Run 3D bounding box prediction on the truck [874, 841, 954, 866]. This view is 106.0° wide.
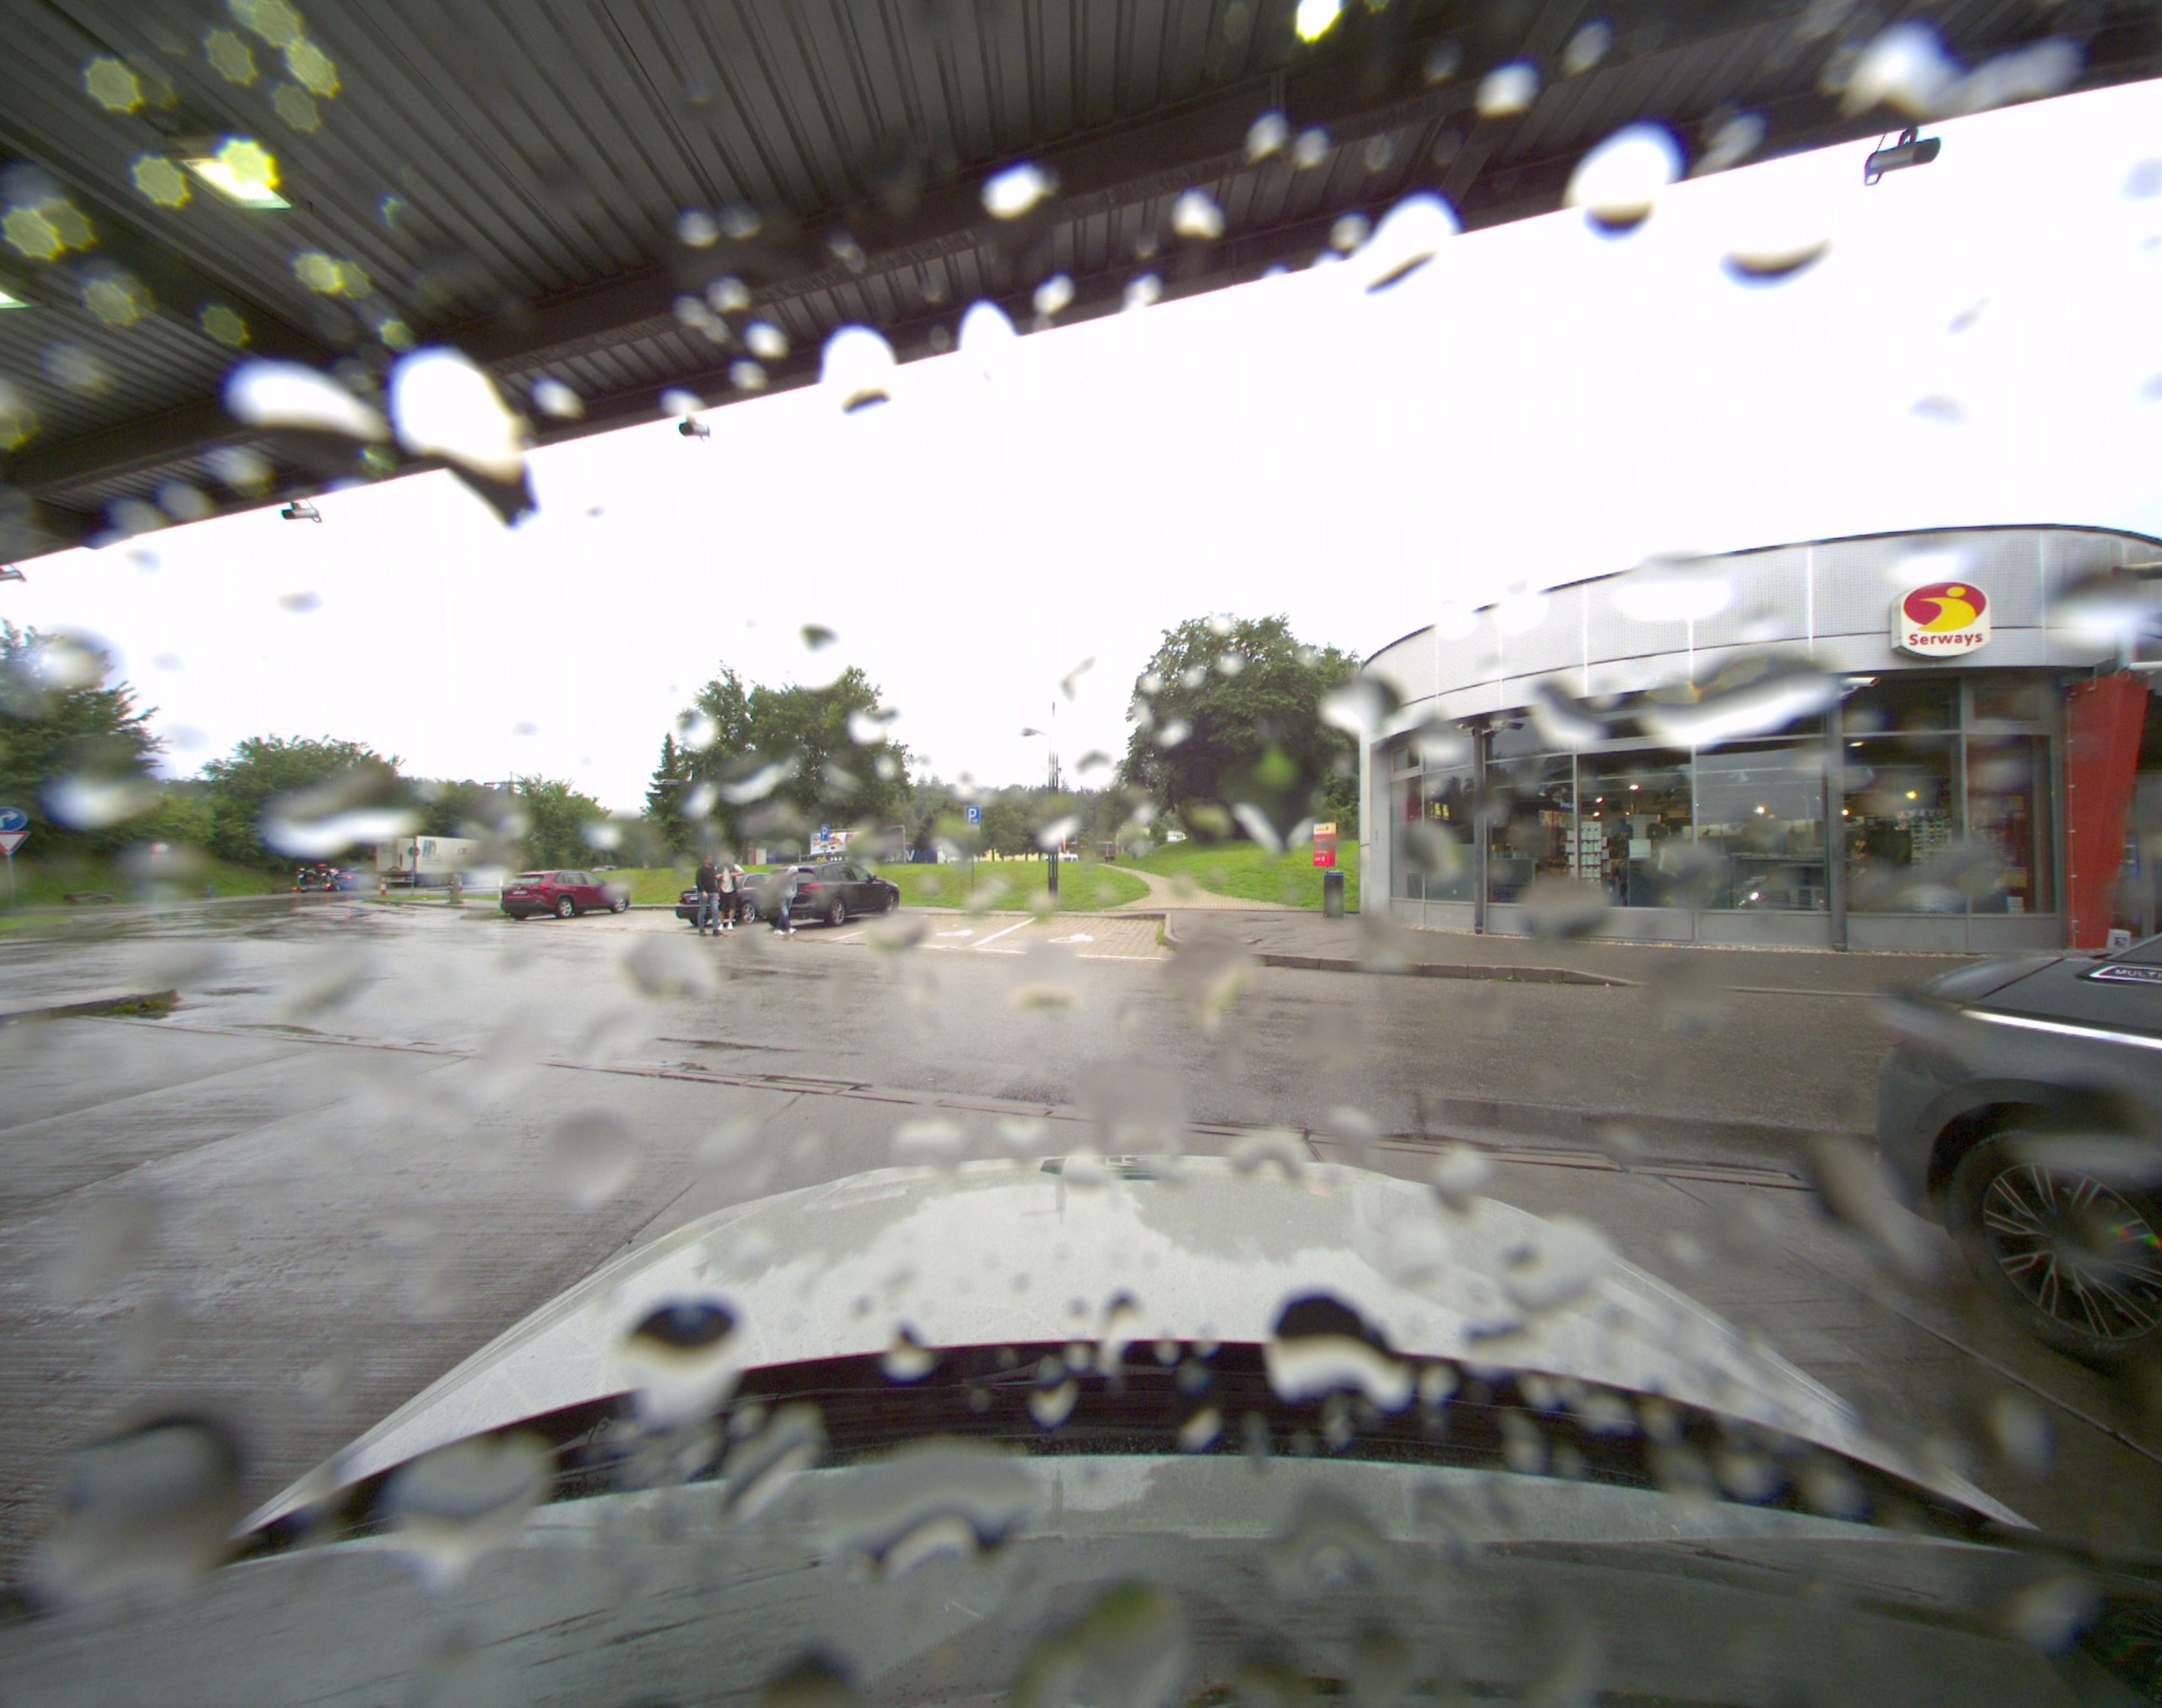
[{"bbox_3d":[-20.755,-0.052,102.347,2.165,2.920,13.175,-1,-1,26],"label":"truck"}]

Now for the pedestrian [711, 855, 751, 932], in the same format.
[{"bbox_3d":[-8.806,0.965,20.519,0.701,1.887,0.952,0,-1,-7],"label":"pedestrian"}]

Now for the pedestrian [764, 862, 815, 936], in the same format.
[{"bbox_3d":[-6.698,1.014,18.735,0.942,1.631,0.708,-1,-1,37],"label":"pedestrian"}]

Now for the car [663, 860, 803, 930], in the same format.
[{"bbox_3d":[-9.833,1.082,23.426,2.010,1.711,4.344,-2,0,1],"label":"car"}]

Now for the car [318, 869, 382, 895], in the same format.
[{"bbox_3d":[-50.344,1.885,56.172,1.814,1.681,3.927,0,-1,-18],"label":"car"}]

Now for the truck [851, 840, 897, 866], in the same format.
[{"bbox_3d":[-24.187,-0.084,95.456,2.165,2.920,5.419,-1,-1,27],"label":"truck"}]

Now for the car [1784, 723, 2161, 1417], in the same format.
[{"bbox_3d":[3.677,0.542,0.680,1.854,1.798,5.142,0,-1,2],"label":"car"}]

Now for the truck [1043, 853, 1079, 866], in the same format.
[{"bbox_3d":[-3.252,0.879,134.107,5.356,2.014,2.381,-1,-1,26],"label":"truck"}]

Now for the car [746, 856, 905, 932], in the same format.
[{"bbox_3d":[-6.647,0.971,21.782,2.002,1.711,4.360,-2,0,14],"label":"car"}]

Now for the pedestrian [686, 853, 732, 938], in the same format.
[{"bbox_3d":[-8.544,0.937,18.704,0.882,1.887,0.708,-1,-1,44],"label":"pedestrian"}]

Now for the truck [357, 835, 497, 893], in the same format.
[{"bbox_3d":[-55.446,0.846,69.976,3.550,4.340,16.899,0,-1,-18],"label":"truck"}]

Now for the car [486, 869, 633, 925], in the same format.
[{"bbox_3d":[-18.136,1.443,28.593,1.928,1.644,4.352,-2,0,7],"label":"car"}]

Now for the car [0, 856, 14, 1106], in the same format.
[{"bbox_3d":[-7.965,0.803,2.678,1.854,1.608,5.273,0,-1,2],"label":"car"}]

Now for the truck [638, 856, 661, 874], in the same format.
[{"bbox_3d":[-75.066,1.951,141.778,2.486,3.085,7.306,0,-1,-20],"label":"truck"}]
